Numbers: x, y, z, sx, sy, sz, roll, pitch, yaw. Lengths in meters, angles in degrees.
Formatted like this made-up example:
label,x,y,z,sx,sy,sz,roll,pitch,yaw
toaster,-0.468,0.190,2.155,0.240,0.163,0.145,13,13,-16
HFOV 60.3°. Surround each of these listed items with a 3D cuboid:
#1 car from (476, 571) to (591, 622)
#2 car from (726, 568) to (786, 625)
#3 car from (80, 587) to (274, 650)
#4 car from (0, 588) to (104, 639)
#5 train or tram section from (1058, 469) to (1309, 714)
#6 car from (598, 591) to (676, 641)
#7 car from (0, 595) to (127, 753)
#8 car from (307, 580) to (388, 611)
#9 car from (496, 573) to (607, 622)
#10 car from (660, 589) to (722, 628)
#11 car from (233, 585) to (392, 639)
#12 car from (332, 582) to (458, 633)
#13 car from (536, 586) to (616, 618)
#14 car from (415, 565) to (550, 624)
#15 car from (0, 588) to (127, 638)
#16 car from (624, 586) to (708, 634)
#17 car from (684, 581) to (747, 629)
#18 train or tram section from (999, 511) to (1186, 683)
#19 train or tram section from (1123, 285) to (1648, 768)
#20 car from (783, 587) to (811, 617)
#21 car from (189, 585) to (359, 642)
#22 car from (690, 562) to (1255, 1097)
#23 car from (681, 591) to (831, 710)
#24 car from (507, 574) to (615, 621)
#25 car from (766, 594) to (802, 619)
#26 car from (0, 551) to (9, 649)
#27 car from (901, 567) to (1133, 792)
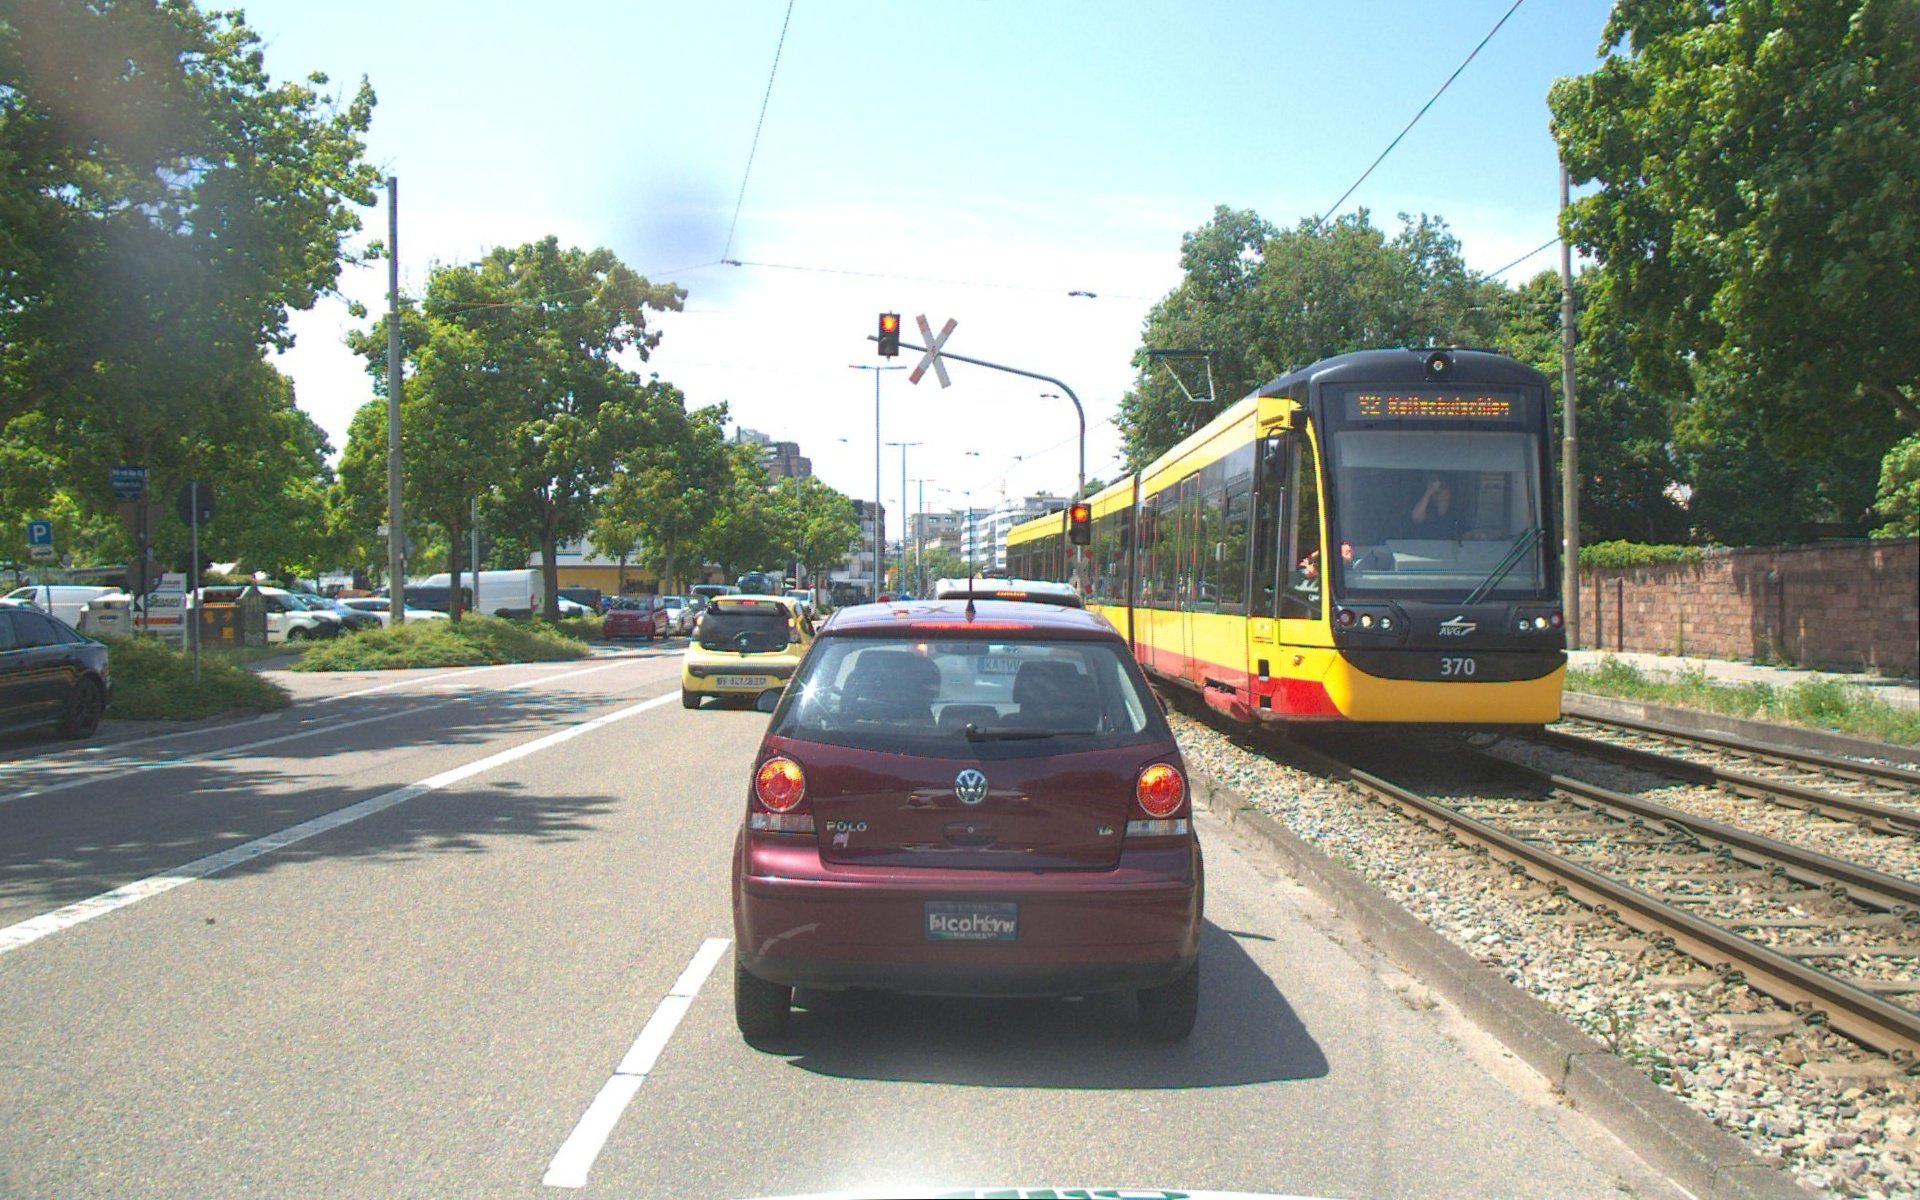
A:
label,x,y,z,sx,sy,sz,roll,pitch,yaw
car,-21.074,-0.159,81.946,4.993,2.283,2.378,2,-1,0
car,-10.309,-0.139,84.072,2.313,2.739,5.307,2,-1,0
car,-20.936,0.486,44.336,4.256,1.612,1.912,-1,0,-3
car,-32.461,0.461,57.960,3.913,1.682,1.812,2,-1,-9
train or tram section,3.762,-0.179,30.903,2.686,3.672,10.945,2,0,-2
car,-10.547,0.539,54.234,1.628,1.523,4.000,2,-1,1
car,-10.306,0.727,16.487,1.782,1.502,4.448,2,0,-1
car,-35.329,-0.229,95.443,3.939,1.645,1.816,2,-1,-2
car,-20.805,-0.128,84.421,4.993,2.283,2.378,2,-1,0
car,-10.692,0.347,65.978,1.581,1.466,4.001,2,-1,3
car,-20.373,0.369,52.155,4.251,1.612,1.914,0,0,5
car,-20.514,0.256,60.186,3.906,1.776,1.998,-1,0,-2
car,-21.197,0.113,91.416,3.938,1.645,1.816,2,-1,0
car,-20.332,-0.212,70.638,4.993,2.283,2.378,2,-1,0
car,-32.829,0.469,60.364,3.913,1.682,1.812,2,-1,-9
car,-10.741,0.379,60.781,1.934,1.629,4.560,2,-1,4
car,-10.453,0.237,71.025,1.746,1.914,4.787,2,-1,2
train or tram section,3.021,-0.118,41.472,2.688,3.672,10.937,2,0,-6
train or tram section,3.955,-0.620,19.331,2.685,3.672,12.869,2,0,0
car,-10.594,0.132,107.348,1.741,1.860,3.995,2,-1,-6
car,-20.449,0.389,49.399,4.251,1.612,1.914,0,0,5
car,-0.008,0.671,6.906,1.638,1.548,3.999,2,0,-2
car,-2.691,0.620,22.465,1.656,1.435,3.514,2,0,-2
car,-20.955,-0.111,86.953,4.993,2.283,2.378,2,-1,0
car,-10.770,0.391,101.315,1.581,1.466,4.001,2,-1,3
car,-33.108,-0.122,50.396,6.714,3.017,2.363,2,-1,-2
car,0.385,0.598,14.641,1.741,1.676,3.999,2,0,-2
